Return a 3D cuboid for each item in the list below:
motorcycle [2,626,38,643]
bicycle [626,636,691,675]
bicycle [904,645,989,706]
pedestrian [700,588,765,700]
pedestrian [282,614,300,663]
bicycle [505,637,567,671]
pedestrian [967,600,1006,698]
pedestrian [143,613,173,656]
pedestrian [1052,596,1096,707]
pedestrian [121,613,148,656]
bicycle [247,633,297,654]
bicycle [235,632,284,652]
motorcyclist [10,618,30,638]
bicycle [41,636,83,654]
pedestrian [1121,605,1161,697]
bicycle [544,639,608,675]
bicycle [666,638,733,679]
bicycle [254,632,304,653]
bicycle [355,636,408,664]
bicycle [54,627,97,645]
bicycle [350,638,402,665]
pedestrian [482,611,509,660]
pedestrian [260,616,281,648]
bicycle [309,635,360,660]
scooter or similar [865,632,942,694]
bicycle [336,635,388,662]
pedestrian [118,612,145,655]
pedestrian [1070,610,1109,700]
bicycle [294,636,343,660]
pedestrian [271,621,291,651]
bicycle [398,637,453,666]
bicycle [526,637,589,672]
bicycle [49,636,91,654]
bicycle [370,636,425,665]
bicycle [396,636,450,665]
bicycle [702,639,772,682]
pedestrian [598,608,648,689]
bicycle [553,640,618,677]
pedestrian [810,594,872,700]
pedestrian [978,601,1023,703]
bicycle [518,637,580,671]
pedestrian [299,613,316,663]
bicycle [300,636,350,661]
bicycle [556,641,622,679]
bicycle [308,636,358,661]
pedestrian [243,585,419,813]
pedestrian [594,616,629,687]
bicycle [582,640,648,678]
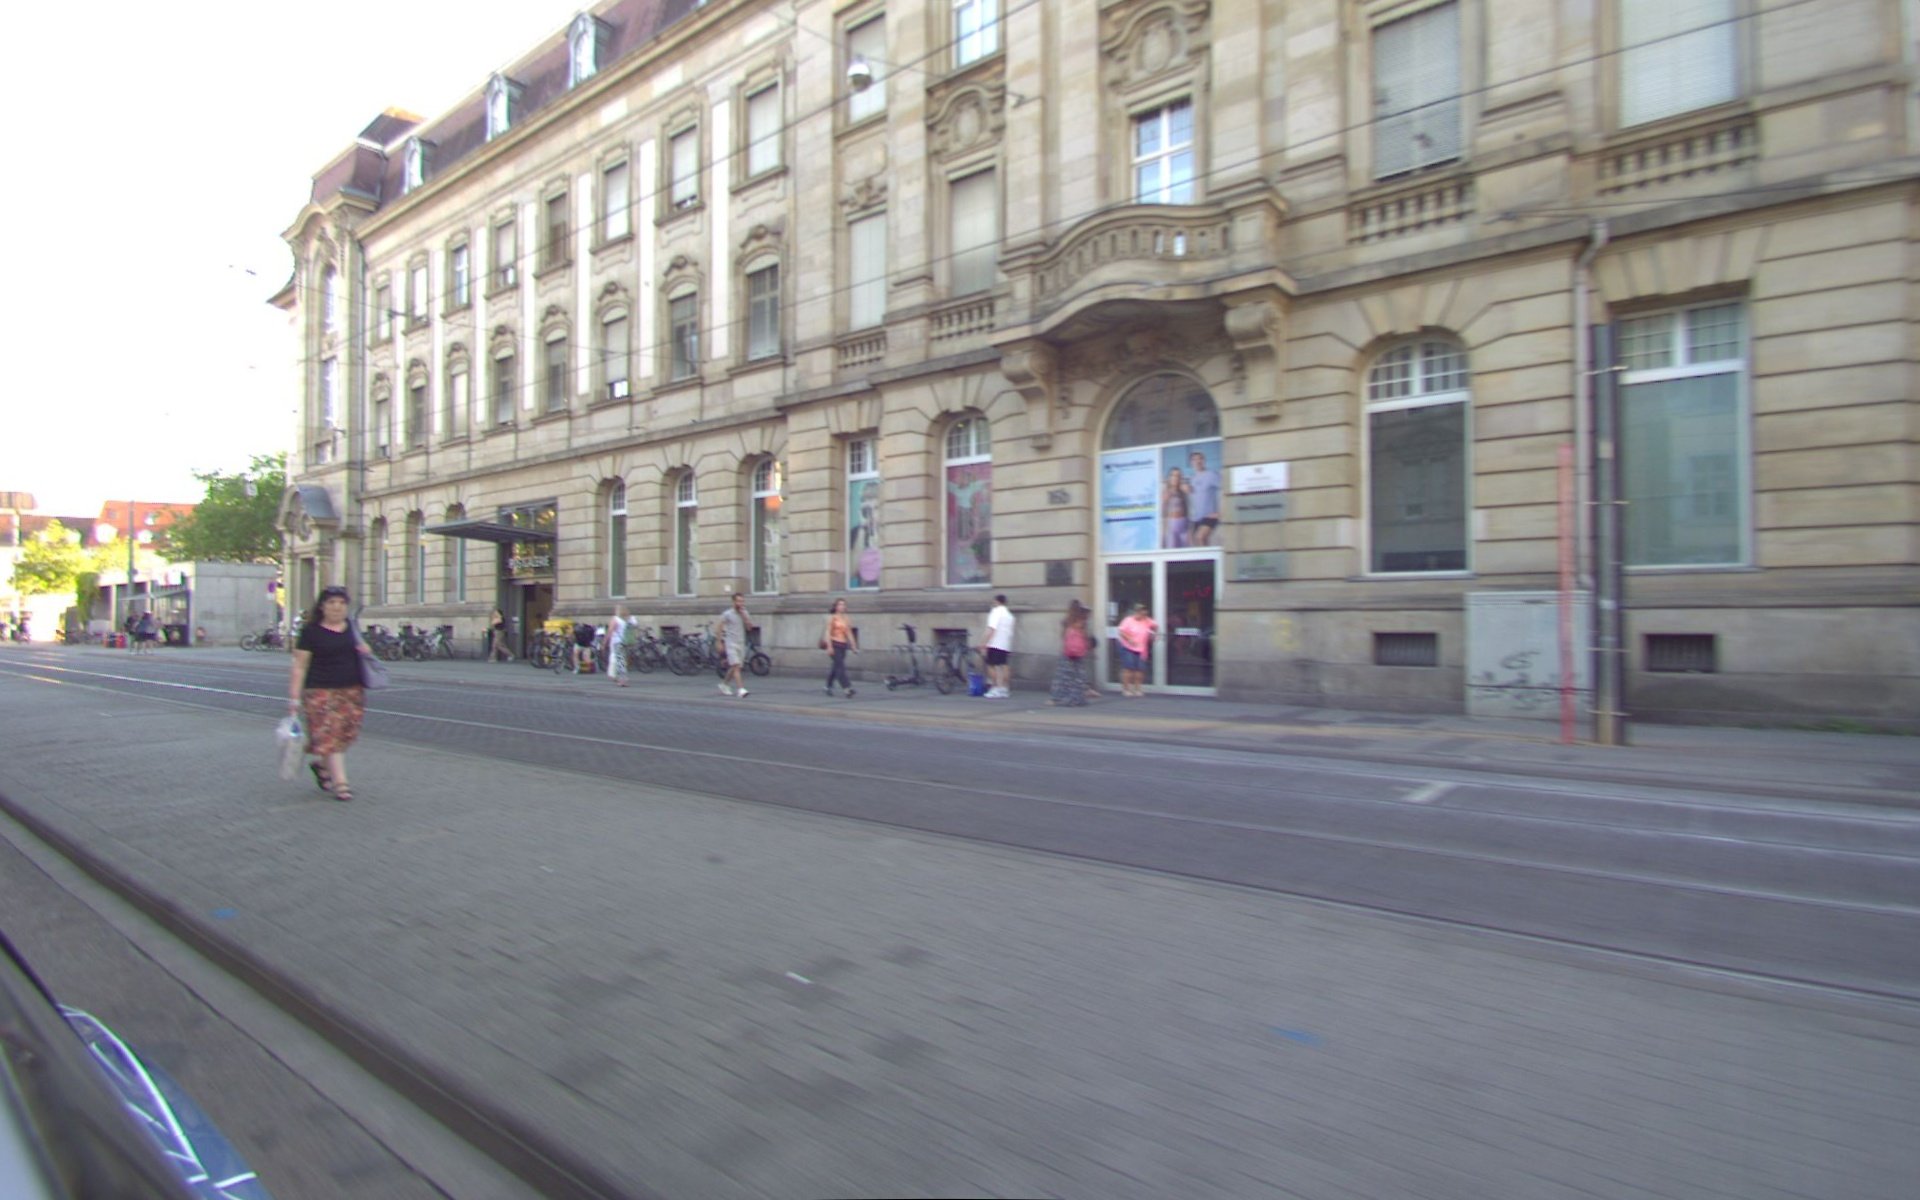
[{"bbox_3d":[-70.236,2.590,75.628,1.750,1.247,0.808,-1,0,-13],"label":"motorcycle"},{"bbox_3d":[-7.559,1.385,25.408,0.451,0.880,1.558,-1,0,44],"label":"bicycle"},{"bbox_3d":[-0.205,1.232,16.813,0.451,0.880,1.558,-1,0,44],"label":"bicycle"},{"bbox_3d":[-3.809,0.725,16.966,0.812,1.826,0.686,-1,-1,34],"label":"pedestrian"},{"bbox_3d":[-22.906,1.303,34.650,0.370,1.643,0.495,-1,0,-17],"label":"pedestrian"},{"bbox_3d":[-12.043,1.513,28.782,0.451,0.880,1.558,-1,0,44],"label":"bicycle"},{"bbox_3d":[0.456,0.837,17.555,0.331,1.654,0.606,-1,0,-44],"label":"pedestrian"},{"bbox_3d":[-33.360,1.437,42.095,0.671,1.749,0.676,0,-3,3],"label":"pedestrian"},{"bbox_3d":[1.710,0.759,15.163,0.568,1.617,0.438,-1,0,20],"label":"pedestrian"},{"bbox_3d":[-33.744,1.418,41.375,0.669,1.749,0.483,1,-3,-10],"label":"pedestrian"},{"bbox_3d":[-31.978,2.018,47.077,0.634,0.875,1.818,-1,0,37],"label":"bicycle"},{"bbox_3d":[-33.507,2.016,48.454,0.634,0.875,1.818,-1,0,37],"label":"bicycle"},{"bbox_3d":[-70.266,2.086,75.649,0.787,1.450,0.802,-1,0,-13],"label":"motorcyclist"},{"bbox_3d":[-62.366,3.118,70.276,0.692,1.168,2.104,-2,-1,40],"label":"bicycle"},{"bbox_3d":[3.035,0.835,16.945,0.589,1.501,0.538,-1,0,16],"label":"pedestrian"},{"bbox_3d":[-10.311,1.522,27.225,0.451,0.880,1.558,-1,0,44],"label":"bicycle"},{"bbox_3d":[-6.281,1.395,24.408,0.451,0.880,1.558,-1,0,44],"label":"bicycle"},{"bbox_3d":[-31.379,1.952,46.671,0.634,0.875,1.818,-1,0,37],"label":"bicycle"},{"bbox_3d":[-20.057,1.729,35.109,0.451,0.880,1.558,-1,0,44],"label":"bicycle"},{"bbox_3d":[-59.665,2.451,68.306,0.692,1.168,2.104,-2,-1,40],"label":"bicycle"},{"bbox_3d":[-20.900,1.819,36.219,0.451,0.880,1.558,-1,0,44],"label":"bicycle"},{"bbox_3d":[-14.888,1.132,32.435,0.725,1.544,0.780,0,-1,-29],"label":"pedestrian"},{"bbox_3d":[-34.462,1.595,50.584,0.678,1.573,0.653,-1,-1,36],"label":"pedestrian"},{"bbox_3d":[-23.411,1.768,37.875,0.451,0.880,1.558,-1,0,44],"label":"bicycle"},{"bbox_3d":[-1.046,1.159,18.968,0.451,1.076,1.530,-1,0,44],"label":"scooter or similar"},{"bbox_3d":[-21.613,1.747,36.579,0.451,0.880,1.558,-1,0,44],"label":"bicycle"},{"bbox_3d":[-34.332,1.377,41.925,0.593,1.749,0.643,-1,-3,30],"label":"pedestrian"},{"bbox_3d":[2.133,0.890,16.665,0.433,1.451,0.573,-1,0,-14],"label":"pedestrian"},{"bbox_3d":[-25.079,1.871,39.607,0.451,0.880,1.558,-1,0,44],"label":"bicycle"},{"bbox_3d":[-35.056,1.855,52.237,0.678,1.573,0.653,-1,-1,36],"label":"pedestrian"},{"bbox_3d":[-17.803,1.702,33.729,0.451,0.880,1.558,-1,0,44],"label":"bicycle"},{"bbox_3d":[-11.115,1.483,27.974,0.451,0.880,1.558,-1,0,44],"label":"bicycle"},{"bbox_3d":[-60.938,3.101,69.327,0.692,1.168,2.104,-2,-1,40],"label":"bicycle"},{"bbox_3d":[-19.212,1.719,34.574,0.451,0.880,1.558,-1,0,44],"label":"bicycle"},{"bbox_3d":[-18.228,1.706,34.346,0.451,0.880,1.558,-1,0,44],"label":"bicycle"},{"bbox_3d":[-5.050,1.350,22.954,0.451,0.880,1.558,-1,0,44],"label":"bicycle"},{"bbox_3d":[-6.668,0.950,20.030,0.678,1.573,0.654,-1,-1,34],"label":"pedestrian"},{"bbox_3d":[-9.888,1.528,26.737,0.451,0.880,1.558,-1,0,44],"label":"bicycle"},{"bbox_3d":[-1.999,0.778,16.994,0.809,1.725,0.690,-1,-1,20],"label":"pedestrian"},{"bbox_3d":[0.675,0.852,16.884,0.562,1.654,0.471,-1,0,43],"label":"pedestrian"},{"bbox_3d":[-11.526,1.507,28.395,0.451,0.880,1.558,-1,0,44],"label":"bicycle"},{"bbox_3d":[-22.413,1.296,34.767,0.370,1.686,0.495,-1,0,-18],"label":"pedestrian"},{"bbox_3d":[-24.645,1.866,39.289,0.451,0.880,1.558,-1,0,44],"label":"bicycle"},{"bbox_3d":[-9.515,1.525,25.986,0.451,0.880,1.558,-1,0,44],"label":"bicycle"},{"bbox_3d":[-23.952,1.858,38.683,0.451,0.880,1.558,-1,0,44],"label":"bicycle"},{"bbox_3d":[-4.558,0.665,7.343,0.900,1.512,0.838,-1,-1,39],"label":"pedestrian"},{"bbox_3d":[-7.449,1.081,21.618,0.682,1.477,0.558,0,-1,-21],"label":"pedestrian"},{"bbox_3d":[-8.758,1.484,25.751,0.451,0.880,1.558,-1,0,44],"label":"bicycle"}]
